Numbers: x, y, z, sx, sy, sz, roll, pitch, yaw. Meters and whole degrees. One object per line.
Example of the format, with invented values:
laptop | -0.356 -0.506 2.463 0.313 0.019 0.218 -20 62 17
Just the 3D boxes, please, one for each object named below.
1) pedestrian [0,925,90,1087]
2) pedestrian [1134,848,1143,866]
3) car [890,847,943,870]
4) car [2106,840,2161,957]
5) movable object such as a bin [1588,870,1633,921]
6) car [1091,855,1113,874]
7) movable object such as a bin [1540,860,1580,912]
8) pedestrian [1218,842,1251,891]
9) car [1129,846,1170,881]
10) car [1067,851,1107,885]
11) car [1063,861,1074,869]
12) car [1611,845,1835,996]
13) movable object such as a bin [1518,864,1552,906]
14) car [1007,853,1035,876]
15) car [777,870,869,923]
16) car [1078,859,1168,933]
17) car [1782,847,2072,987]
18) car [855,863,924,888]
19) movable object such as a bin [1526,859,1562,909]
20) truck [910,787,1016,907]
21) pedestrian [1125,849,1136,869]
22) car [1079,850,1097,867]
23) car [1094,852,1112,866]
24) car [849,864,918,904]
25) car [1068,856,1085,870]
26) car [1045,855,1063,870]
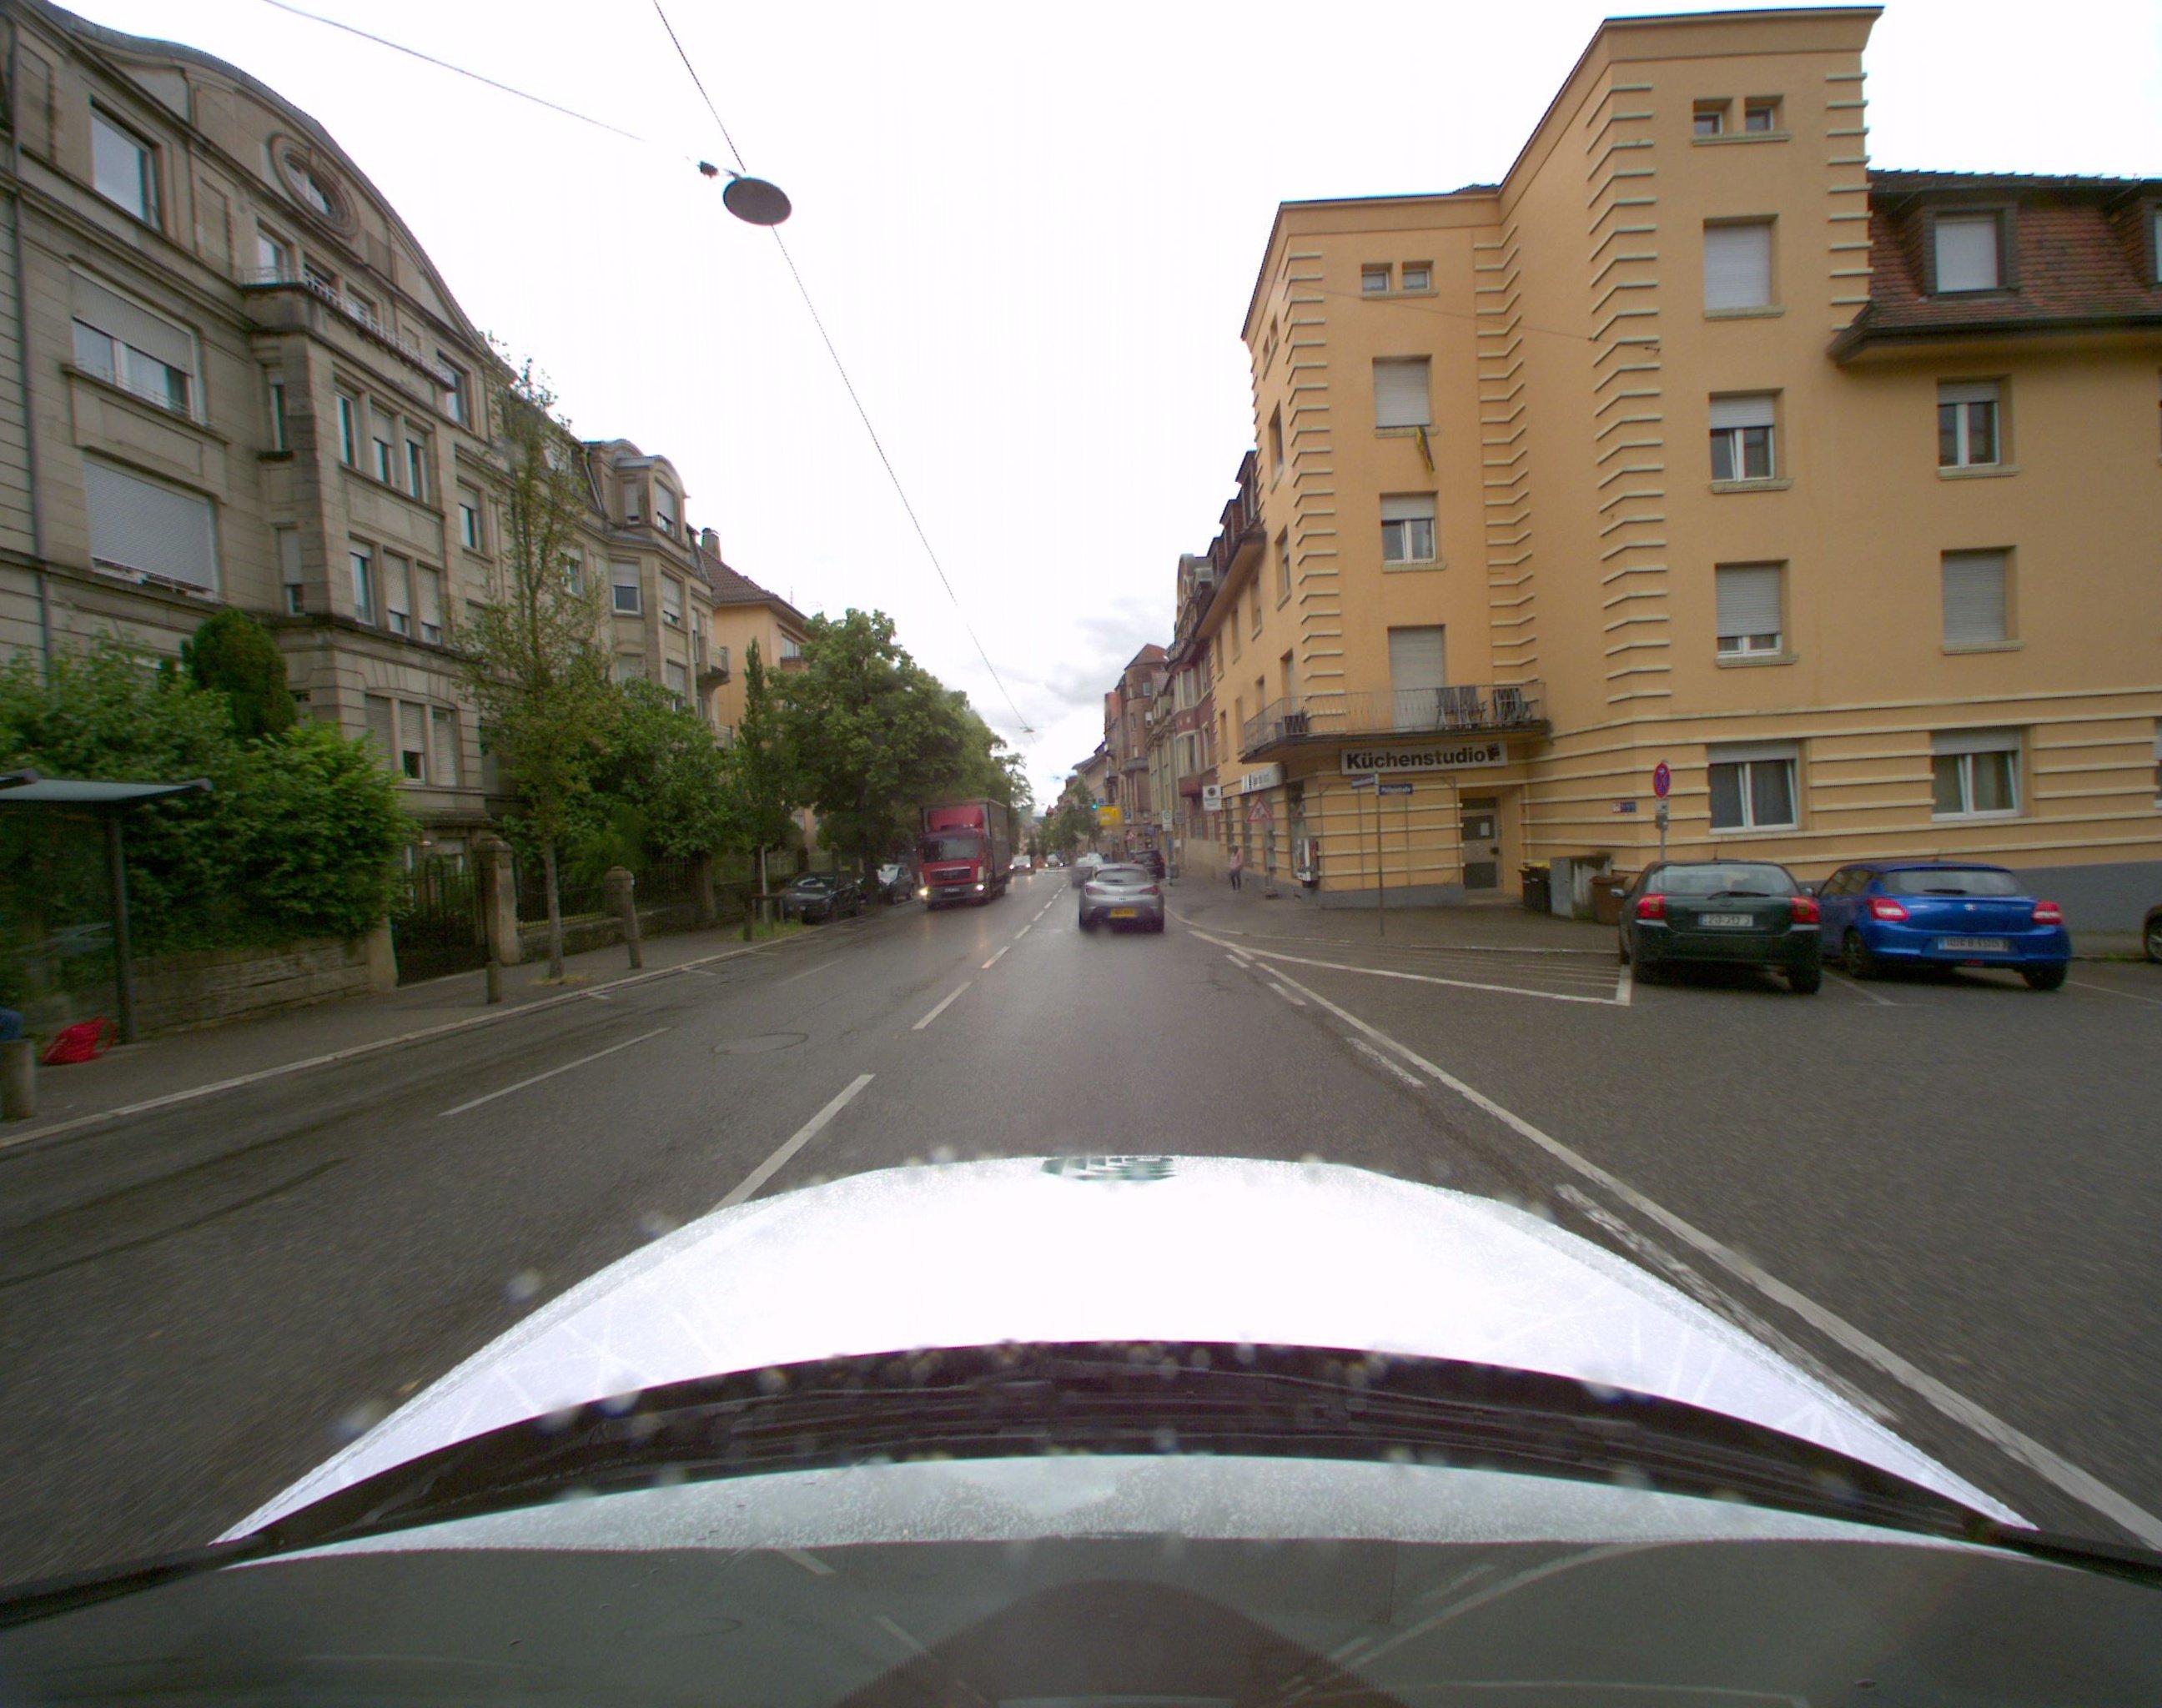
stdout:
pedestrian | -10.303 1.443 7.807 0.763 1.432 0.650 -3 -1 3
pedestrian | 5.276 0.233 74.598 0.592 1.584 0.669 -5 0 19
car | -16.438 0.434 81.466 4.628 2.048 2.034 3 2 15
car | 16.311 0.680 10.671 1.687 1.724 4.566 -1 0 25
movable object such as a bin | 10.350 0.806 15.925 0.503 0.930 0.513 -4 2 1
car | 1.798 0.917 68.712 1.765 1.504 3.870 -2 -1 1
movable object such as a bin | 10.216 0.676 17.389 0.503 1.041 0.513 -4 2 1
pedestrian | 5.203 0.418 27.662 0.768 1.589 0.708 -3 -1 -18
car | 3.703 0.525 44.686 1.870 1.629 4.698 -6 -1 1
car | 0.322 0.663 39.305 1.765 1.504 3.870 -2 -1 1
car | -2.391 2.139 154.052 1.635 1.429 3.369 -3 -1 -6
car | 7.798 0.723 10.265 1.831 1.469 4.135 1 -1 33
movable object such as a bin | 10.380 0.701 18.632 0.503 0.919 0.513 -1 2 1
car | -4.651 0.810 63.722 1.766 1.517 4.591 -3 2 0
car | -8.270 1.300 26.497 1.737 1.559 4.298 0 -1 -2
car | 0.934 0.889 18.664 1.804 1.449 3.871 -2 -1 2
car | 10.758 0.749 10.703 1.686 1.492 3.659 -1 -3 31
car | -12.334 1.349 52.668 3.975 1.326 1.836 -3 0 -1
movable object such as a bin | 10.255 0.660 18.056 0.503 1.056 0.513 -1 4 1
truck | -4.363 -0.200 32.163 2.640 3.854 9.303 -5 0 -1
pedestrian | 4.527 0.454 74.535 0.712 1.774 0.669 -5 0 18
car | 0.672 0.492 82.675 1.652 1.543 3.663 -5 -1 -1
car | 2.704 0.621 99.888 1.655 1.543 3.657 -5 -1 -6
car | -8.269 1.215 34.469 1.735 1.559 4.303 -1 -1 1
car | -0.578 1.131 102.855 1.655 1.543 3.657 -5 -1 -6
car | -2.918 0.904 87.448 1.810 1.517 4.545 -2 0 -1
